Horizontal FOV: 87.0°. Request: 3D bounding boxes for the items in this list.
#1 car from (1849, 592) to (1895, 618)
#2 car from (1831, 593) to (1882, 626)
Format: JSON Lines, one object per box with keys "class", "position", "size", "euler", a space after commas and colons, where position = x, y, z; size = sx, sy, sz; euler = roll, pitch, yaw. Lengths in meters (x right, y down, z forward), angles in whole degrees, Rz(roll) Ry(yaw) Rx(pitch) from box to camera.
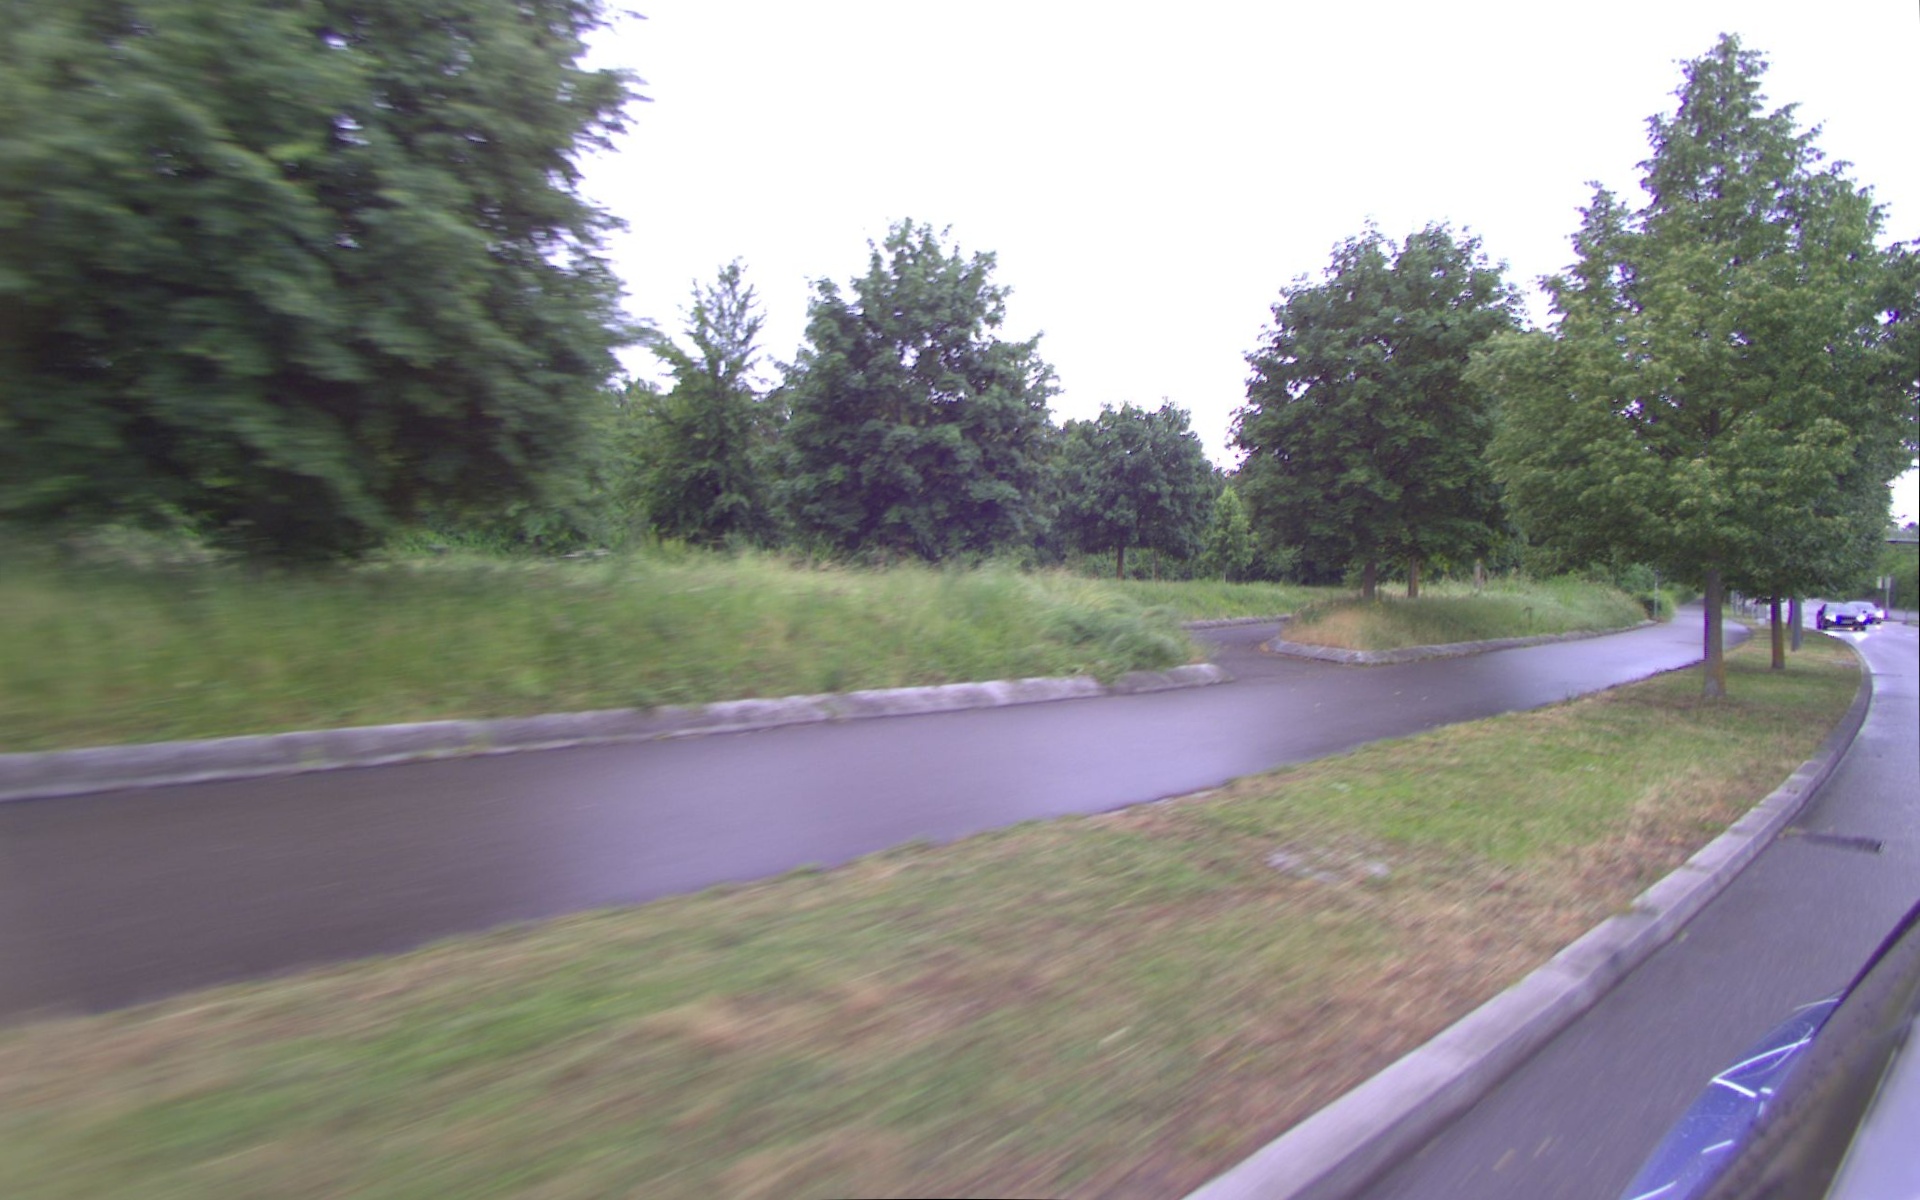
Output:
{"class": "car", "position": [61.152, 0.302, 67.881], "size": [1.814, 1.576, 3.950], "euler": [1, 2, 35]}
{"class": "car", "position": [47.668, 0.475, 53.884], "size": [1.817, 1.576, 3.944], "euler": [1, 2, 39]}
